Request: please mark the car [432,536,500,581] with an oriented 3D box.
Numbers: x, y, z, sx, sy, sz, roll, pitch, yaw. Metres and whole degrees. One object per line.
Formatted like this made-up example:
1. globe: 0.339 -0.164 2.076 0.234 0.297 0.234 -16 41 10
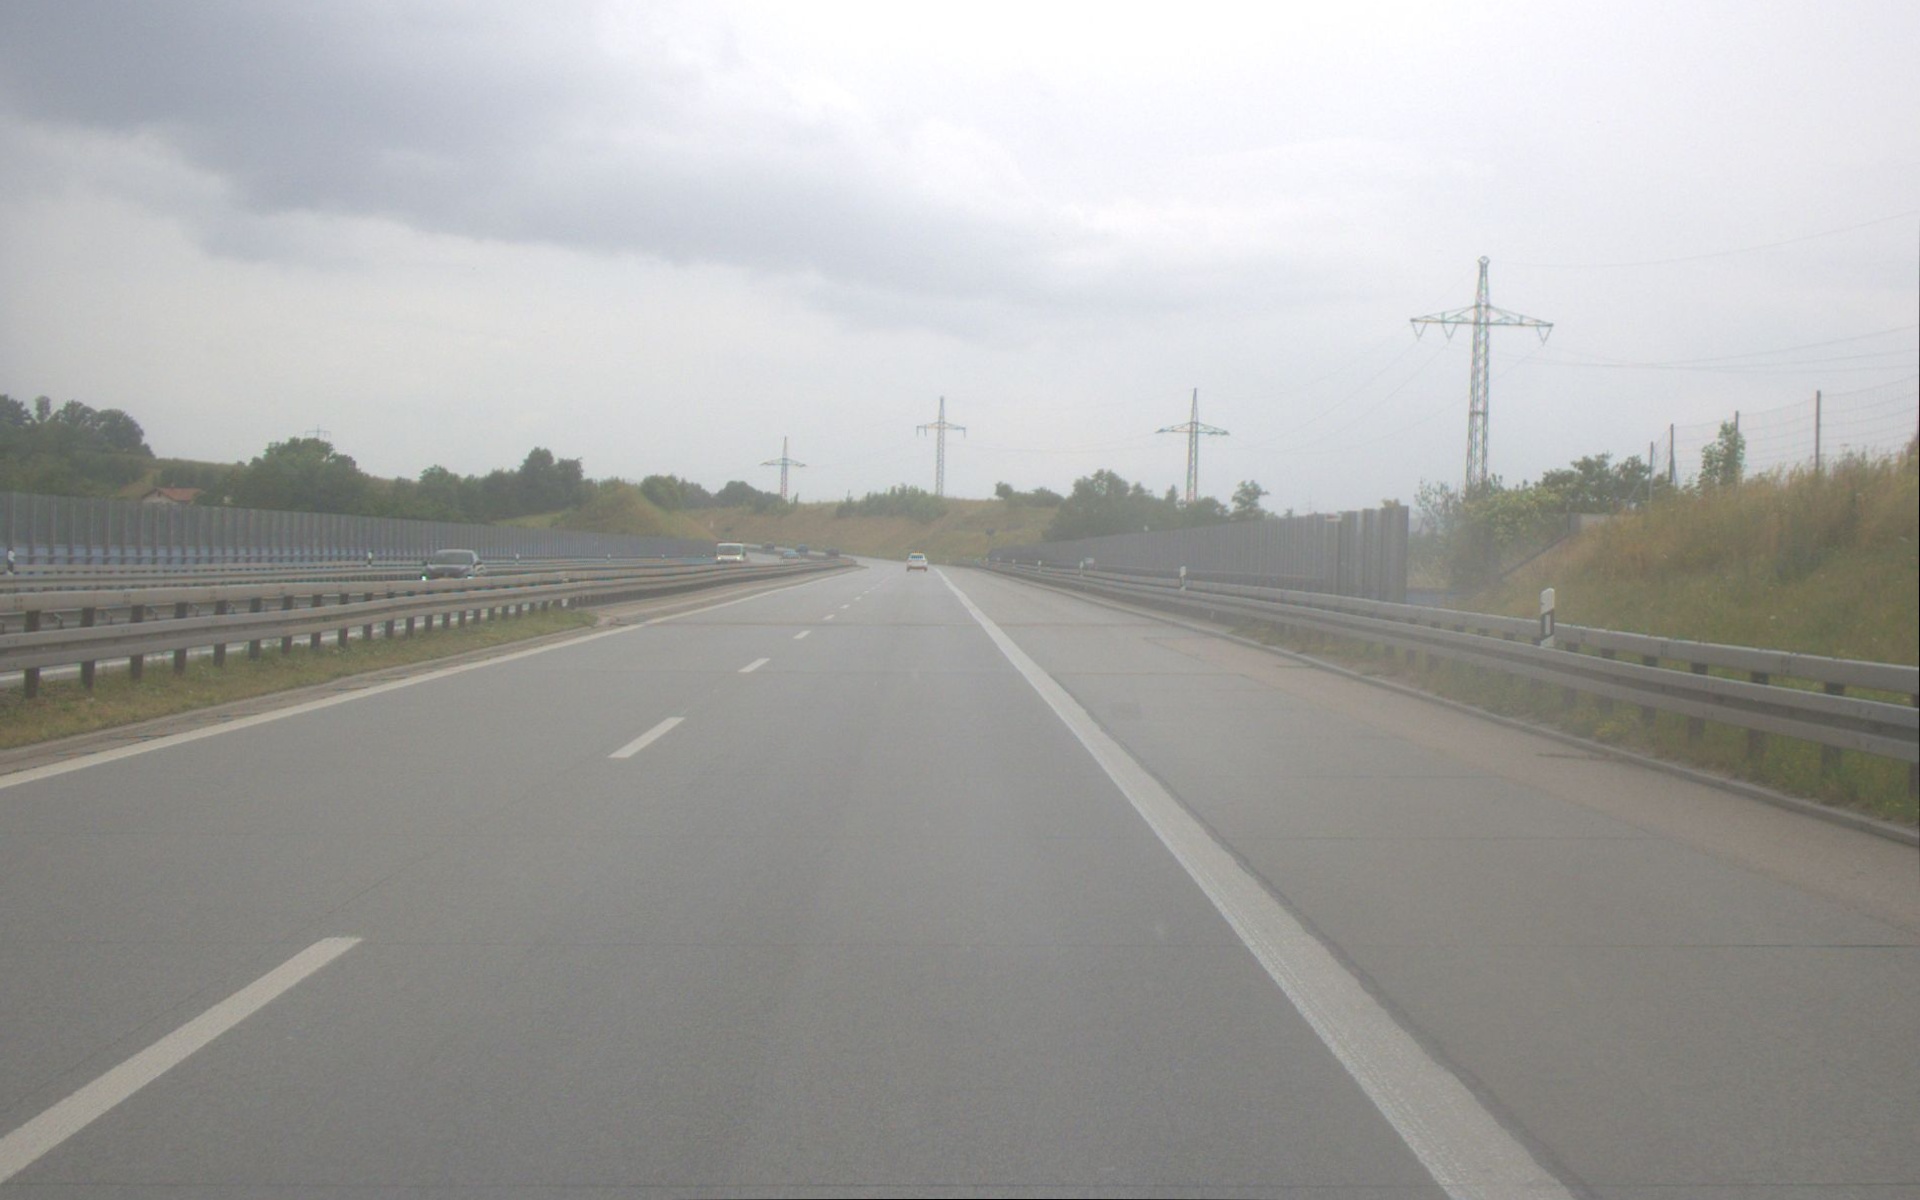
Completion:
1. car: -15.879 -1.350 110.746 1.631 1.404 4.000 1 1 -1
